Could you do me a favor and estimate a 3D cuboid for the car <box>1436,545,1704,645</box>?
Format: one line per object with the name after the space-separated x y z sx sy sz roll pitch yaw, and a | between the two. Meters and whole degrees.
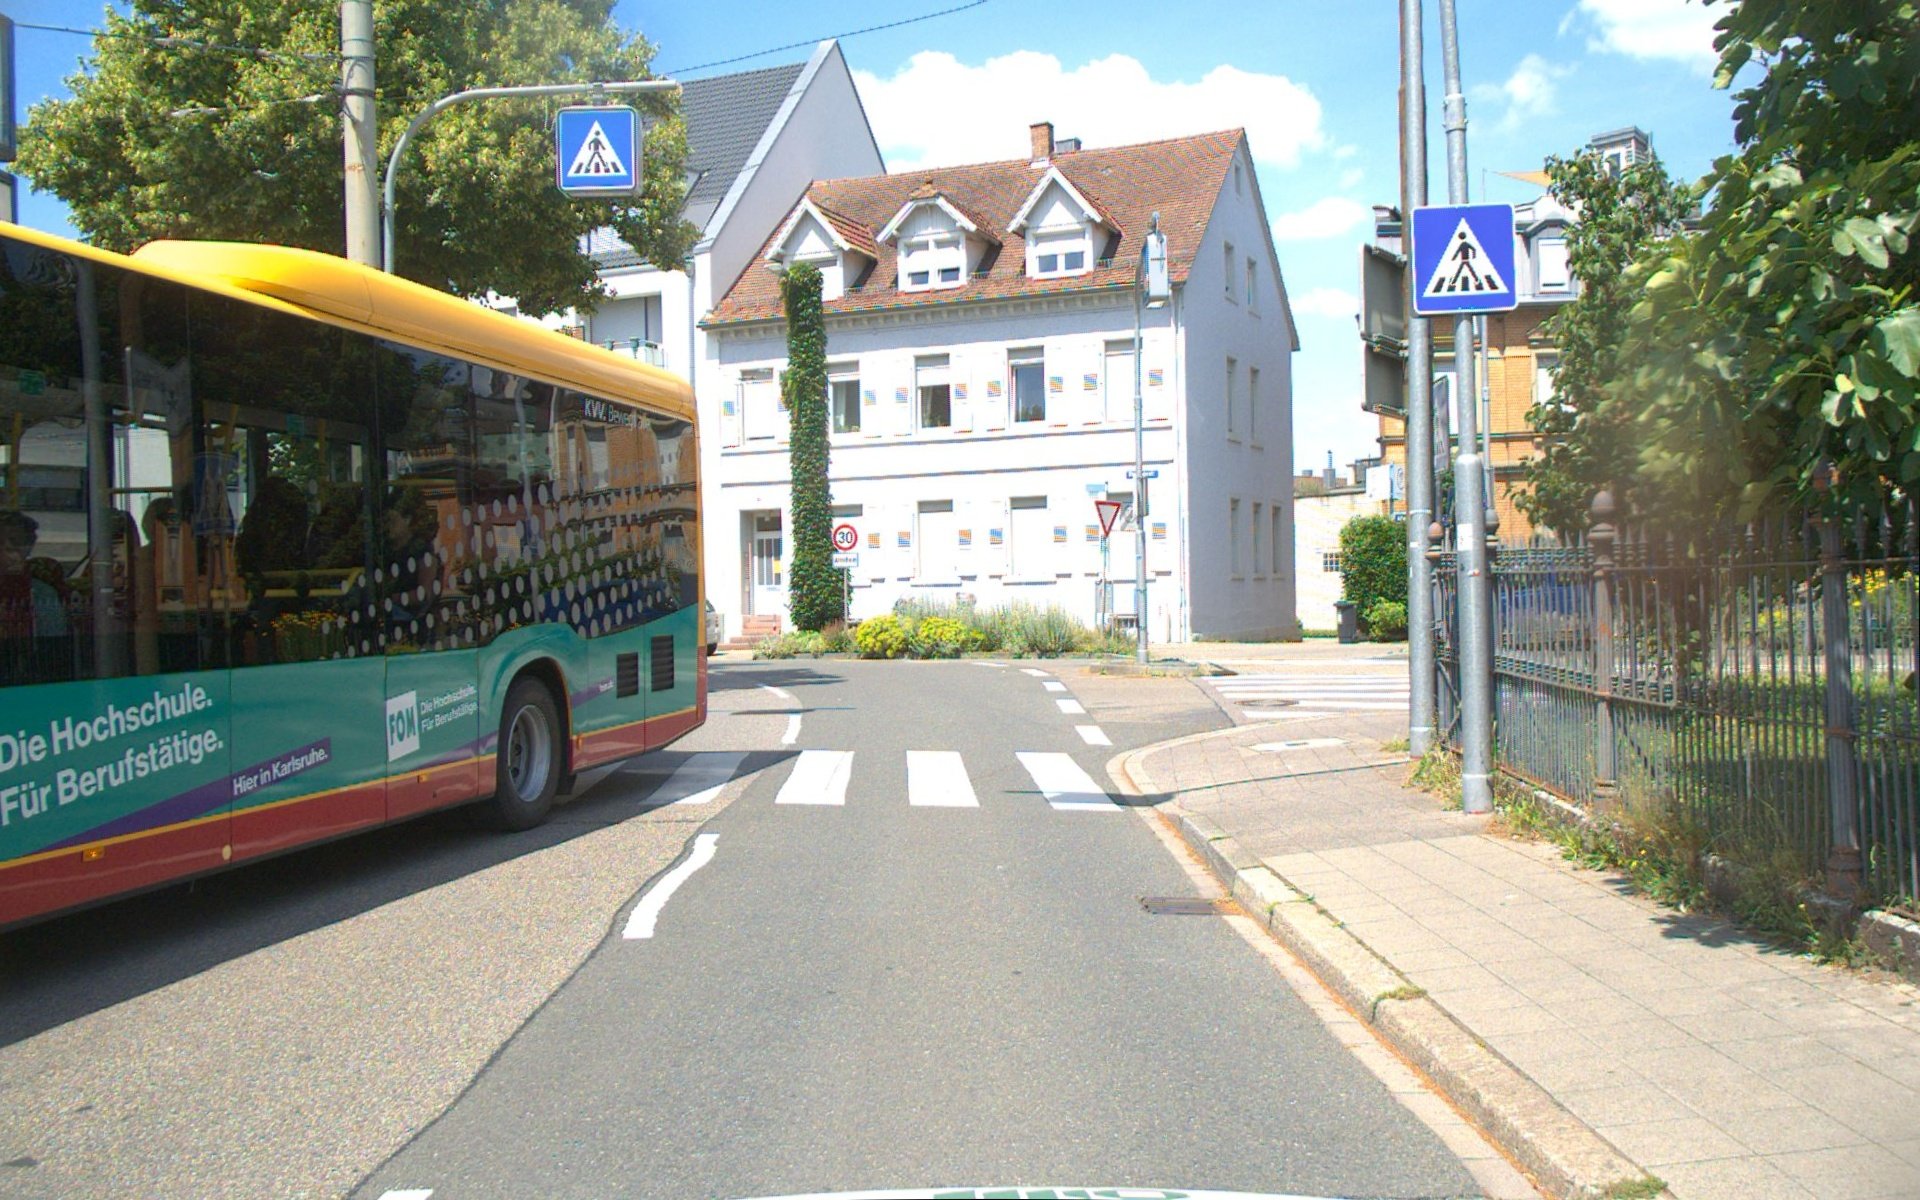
13.130 -0.125 35.908 5.113 1.981 2.085 -1 1 8 | car

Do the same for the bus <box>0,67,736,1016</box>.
-4.310 -0.237 7.720 2.720 3.264 12.318 1 1 11 | bus

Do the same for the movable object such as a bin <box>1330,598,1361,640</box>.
8.735 0.425 37.475 0.413 0.932 0.555 1 -2 -25 | movable object such as a bin

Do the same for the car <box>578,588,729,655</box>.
-7.663 0.532 41.340 3.539 1.614 1.581 0 -2 31 | car
